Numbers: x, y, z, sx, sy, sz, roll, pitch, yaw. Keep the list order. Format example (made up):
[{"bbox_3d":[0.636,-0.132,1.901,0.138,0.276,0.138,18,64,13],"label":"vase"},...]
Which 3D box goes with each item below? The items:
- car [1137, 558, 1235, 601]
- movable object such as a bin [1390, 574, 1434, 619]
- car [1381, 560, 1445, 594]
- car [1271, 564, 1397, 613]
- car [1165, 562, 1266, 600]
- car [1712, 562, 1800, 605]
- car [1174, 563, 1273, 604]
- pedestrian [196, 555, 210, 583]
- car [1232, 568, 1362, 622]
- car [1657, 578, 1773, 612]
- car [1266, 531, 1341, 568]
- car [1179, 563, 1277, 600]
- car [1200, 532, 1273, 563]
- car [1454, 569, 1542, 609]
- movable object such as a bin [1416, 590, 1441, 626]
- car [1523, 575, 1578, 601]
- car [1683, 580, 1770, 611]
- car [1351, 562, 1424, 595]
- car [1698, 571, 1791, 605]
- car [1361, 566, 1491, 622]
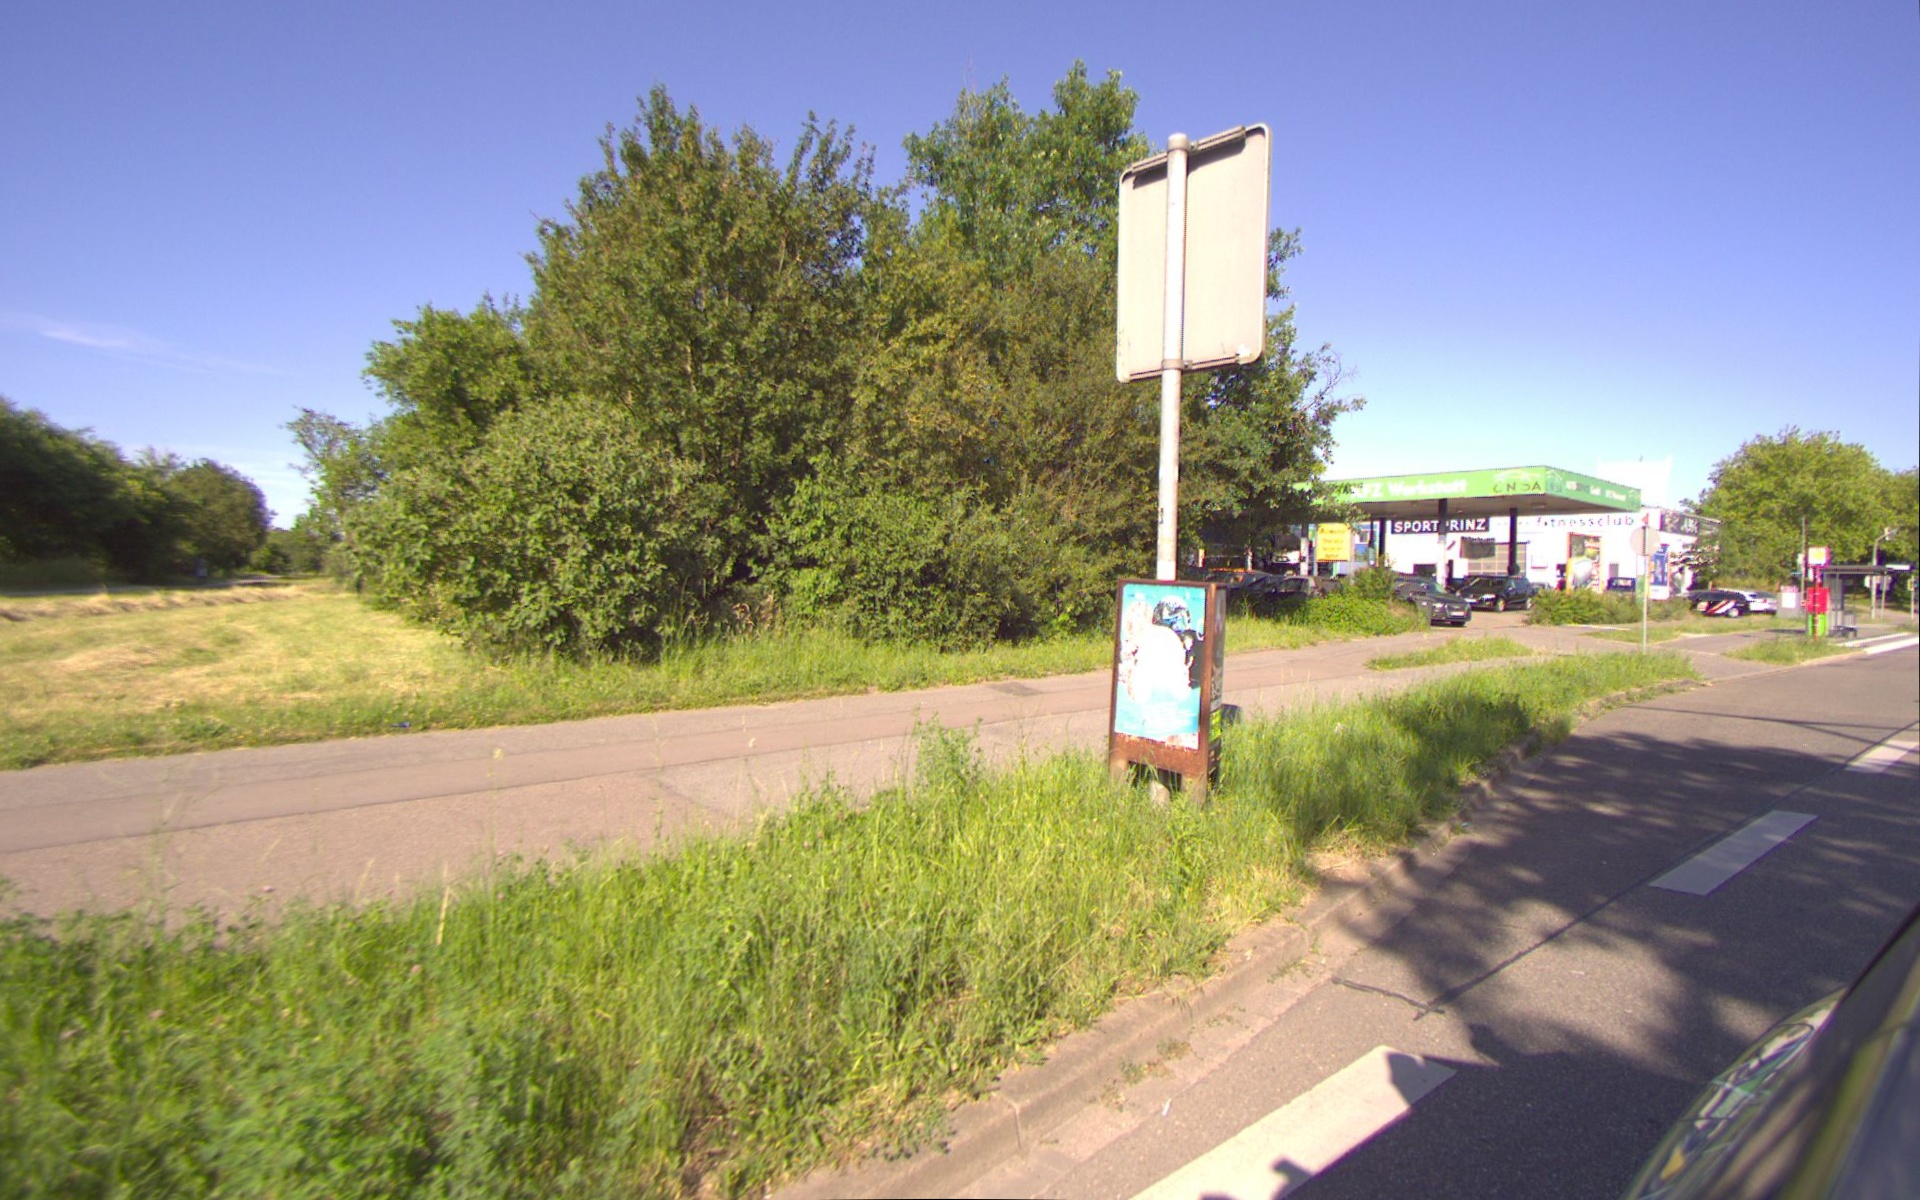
[{"bbox_3d":[8.978,-0.790,40.055,4.062,1.627,1.716,-1,0,-40],"label":"car"},{"bbox_3d":[14.852,-0.120,33.293,0.972,1.446,1.258,1,0,7],"label":"movable object such as a bin"},{"bbox_3d":[20.966,-1.023,46.975,1.970,1.505,3.984,0,0,13],"label":"car"},{"bbox_3d":[11.688,-0.341,31.761,1.697,1.435,3.291,0,0,-38],"label":"car"},{"bbox_3d":[11.141,-0.867,44.257,1.670,1.535,3.991,-1,3,-44],"label":"car"},{"bbox_3d":[49.207,-1.059,62.638,1.652,2.035,4.012,4,7,-8],"label":"car"},{"bbox_3d":[9.959,-0.611,38.160,3.846,1.482,1.727,-1,0,-40],"label":"car"},{"bbox_3d":[-42.412,-1.748,56.707,0.529,1.548,0.535,0,-1,-27],"label":"pedestrian"},{"bbox_3d":[10.070,-0.140,30.388,1.740,1.505,3.291,0,0,-38],"label":"car"},{"bbox_3d":[41.614,-0.299,55.881,4.748,1.549,1.900,3,3,4],"label":"car"},{"bbox_3d":[17.385,-2.538,51.148,3.710,1.776,1.923,-1,2,-39],"label":"car"},{"bbox_3d":[12.103,-0.869,45.846,1.707,1.535,3.991,-1,3,-44],"label":"car"},{"bbox_3d":[14.384,-2.695,52.550,3.562,1.496,1.923,-1,2,-39],"label":"car"},{"bbox_3d":[22.473,-0.468,42.215,4.172,1.592,1.749,0,2,-39],"label":"car"},{"bbox_3d":[14.625,0.245,31.575,0.572,1.088,0.509,1,0,8],"label":"movable object such as a bin"},{"bbox_3d":[37.370,-0.780,64.000,4.147,1.266,1.771,-4,9,-43],"label":"car"},{"bbox_3d":[44.589,-0.276,58.904,1.808,1.305,3.620,-1,9,-38],"label":"car"},{"bbox_3d":[26.252,-1.282,62.237,1.890,1.931,3.698,0,0,-40],"label":"car"},{"bbox_3d":[46.972,-0.734,60.661,1.690,1.468,3.943,1,8,-29],"label":"car"},{"bbox_3d":[16.280,-0.260,35.676,1.764,1.659,4.572,1,3,-11],"label":"car"}]
